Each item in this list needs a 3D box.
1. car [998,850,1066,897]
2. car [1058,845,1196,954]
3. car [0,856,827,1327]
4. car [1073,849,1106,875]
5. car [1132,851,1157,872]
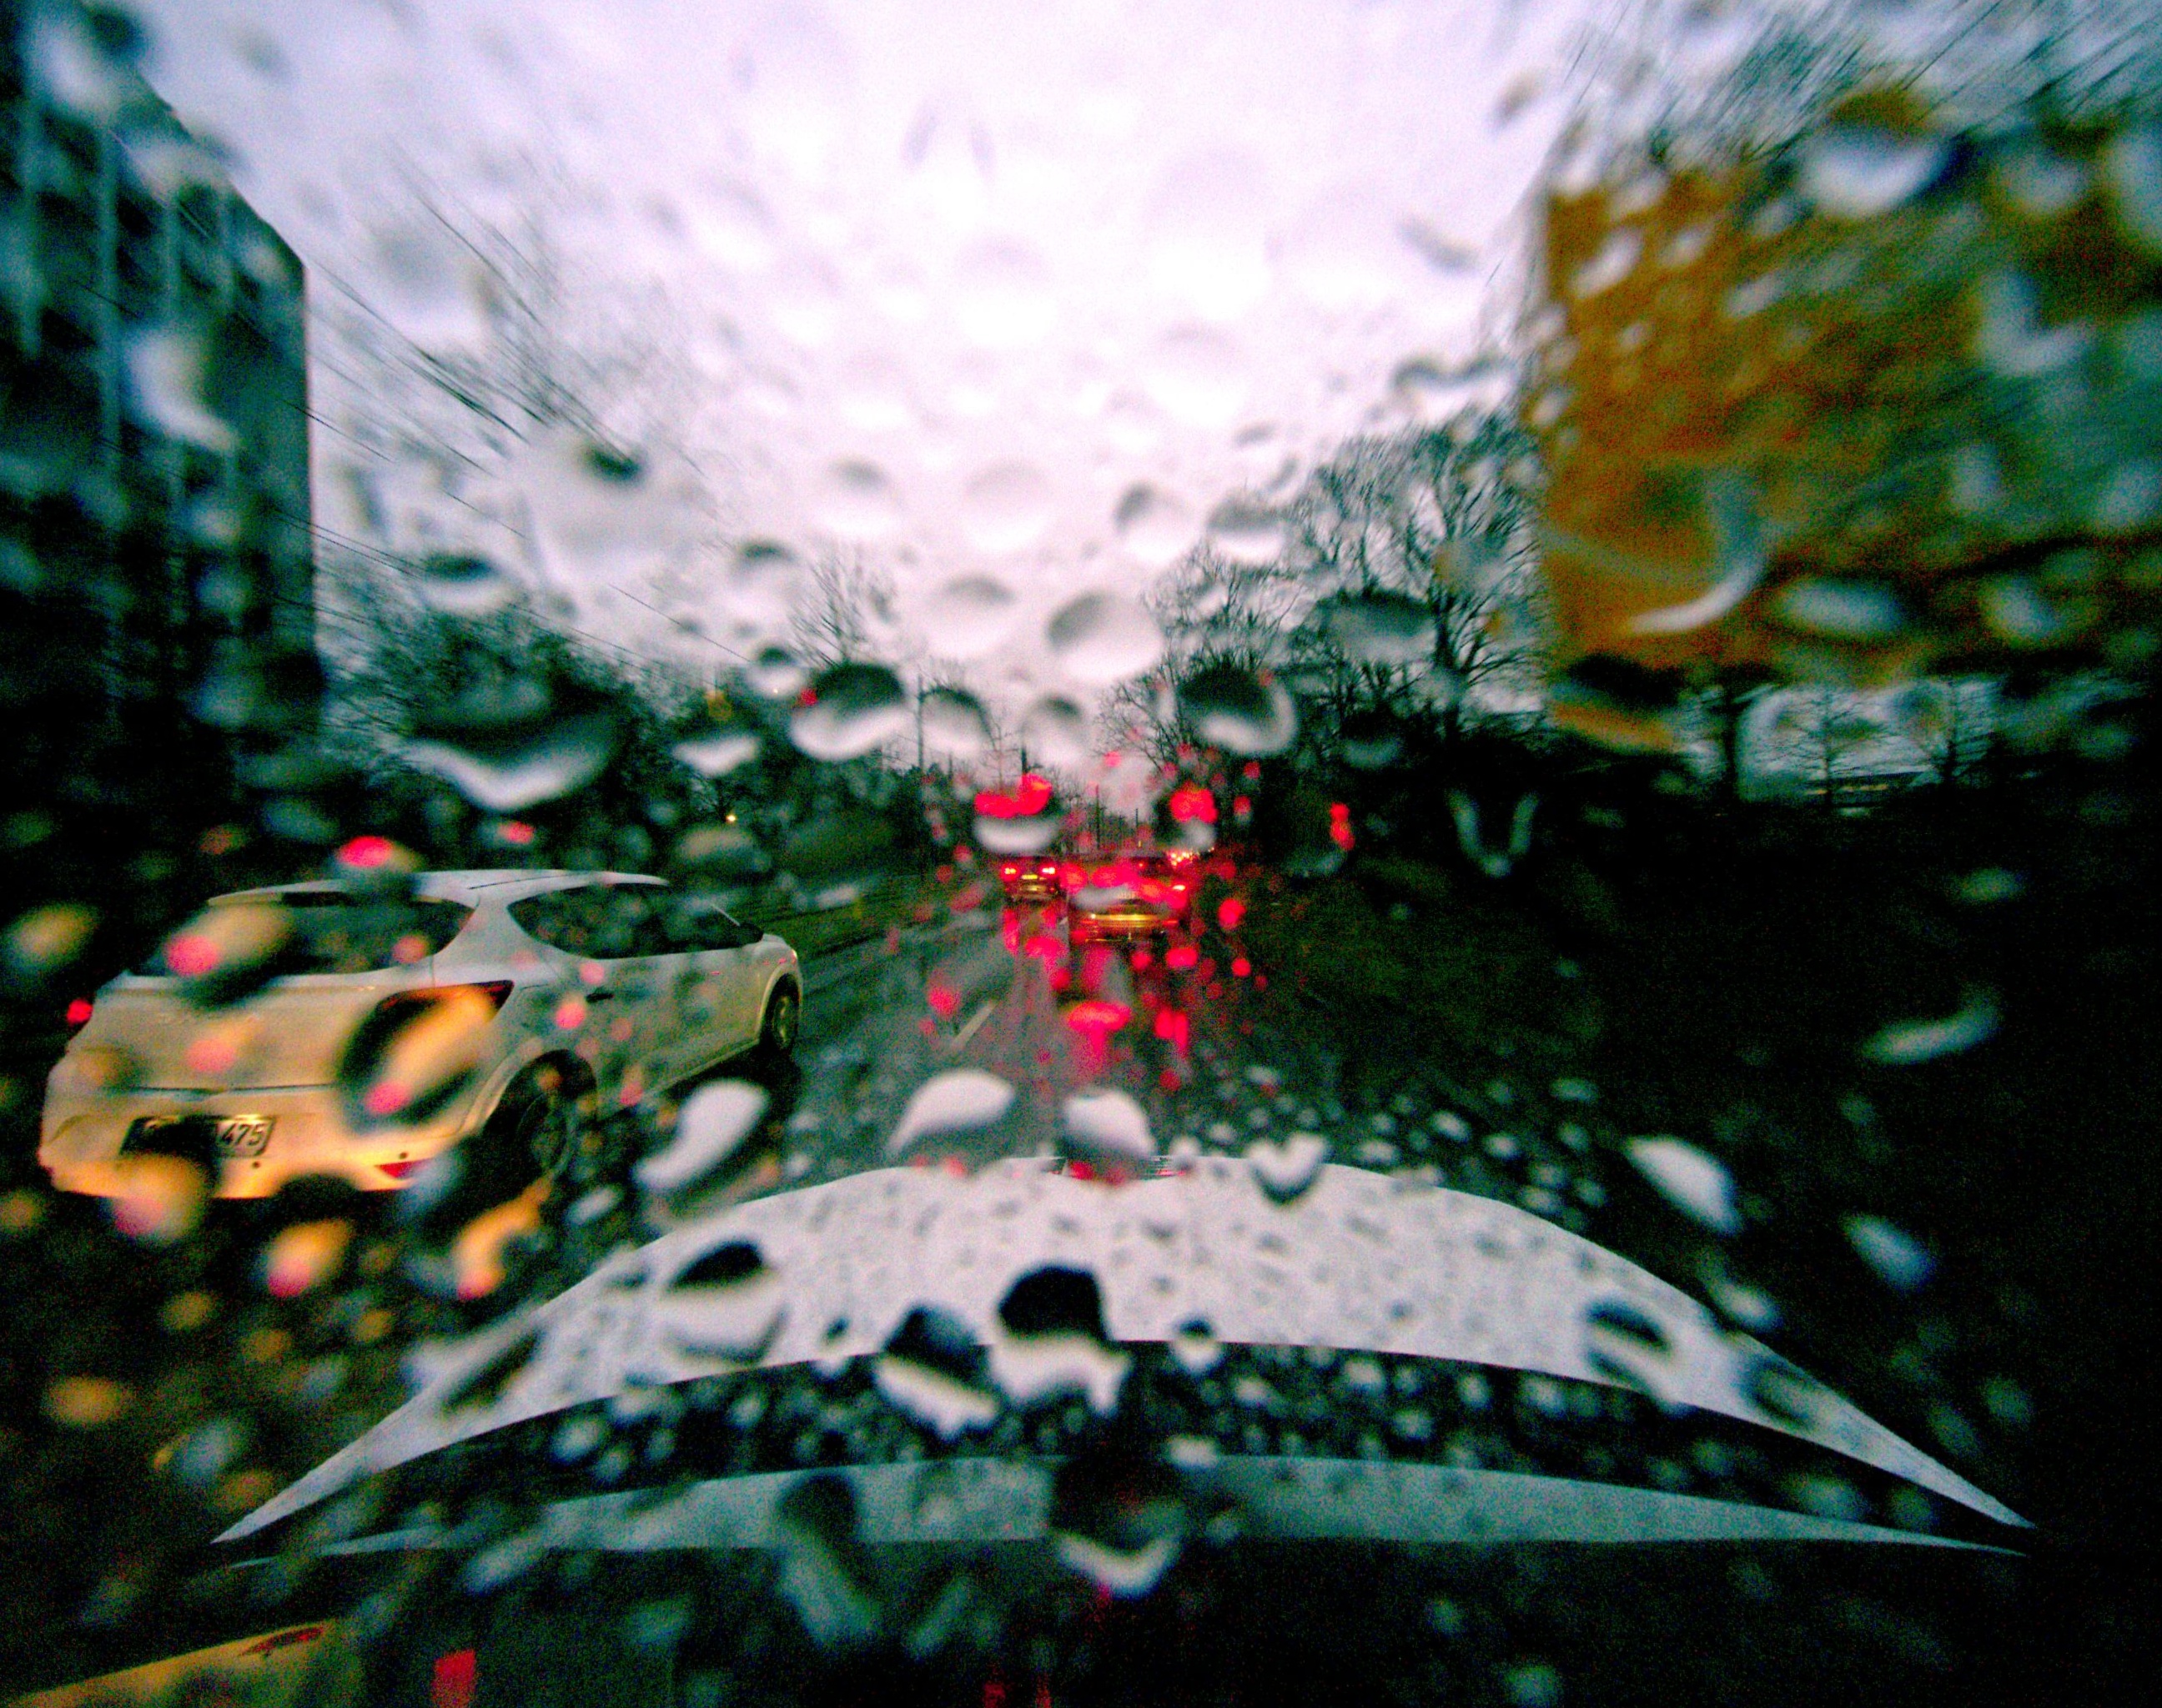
[{"bbox_3d":[-1.644,0.640,28.664,1.872,1.459,4.004,-2,0,3],"label":"car"},{"bbox_3d":[0.743,0.653,13.905,1.990,1.584,4.002,-1,0,2],"label":"car"},{"bbox_3d":[-3.095,0.796,4.754,1.701,1.525,4.138,-1,0,3],"label":"car"},{"bbox_3d":[0.605,0.512,54.244,1.872,1.593,4.005,-2,0,4],"label":"car"},{"bbox_3d":[4.930,0.566,62.938,1.699,1.558,4.005,-1,0,8],"label":"car"}]
